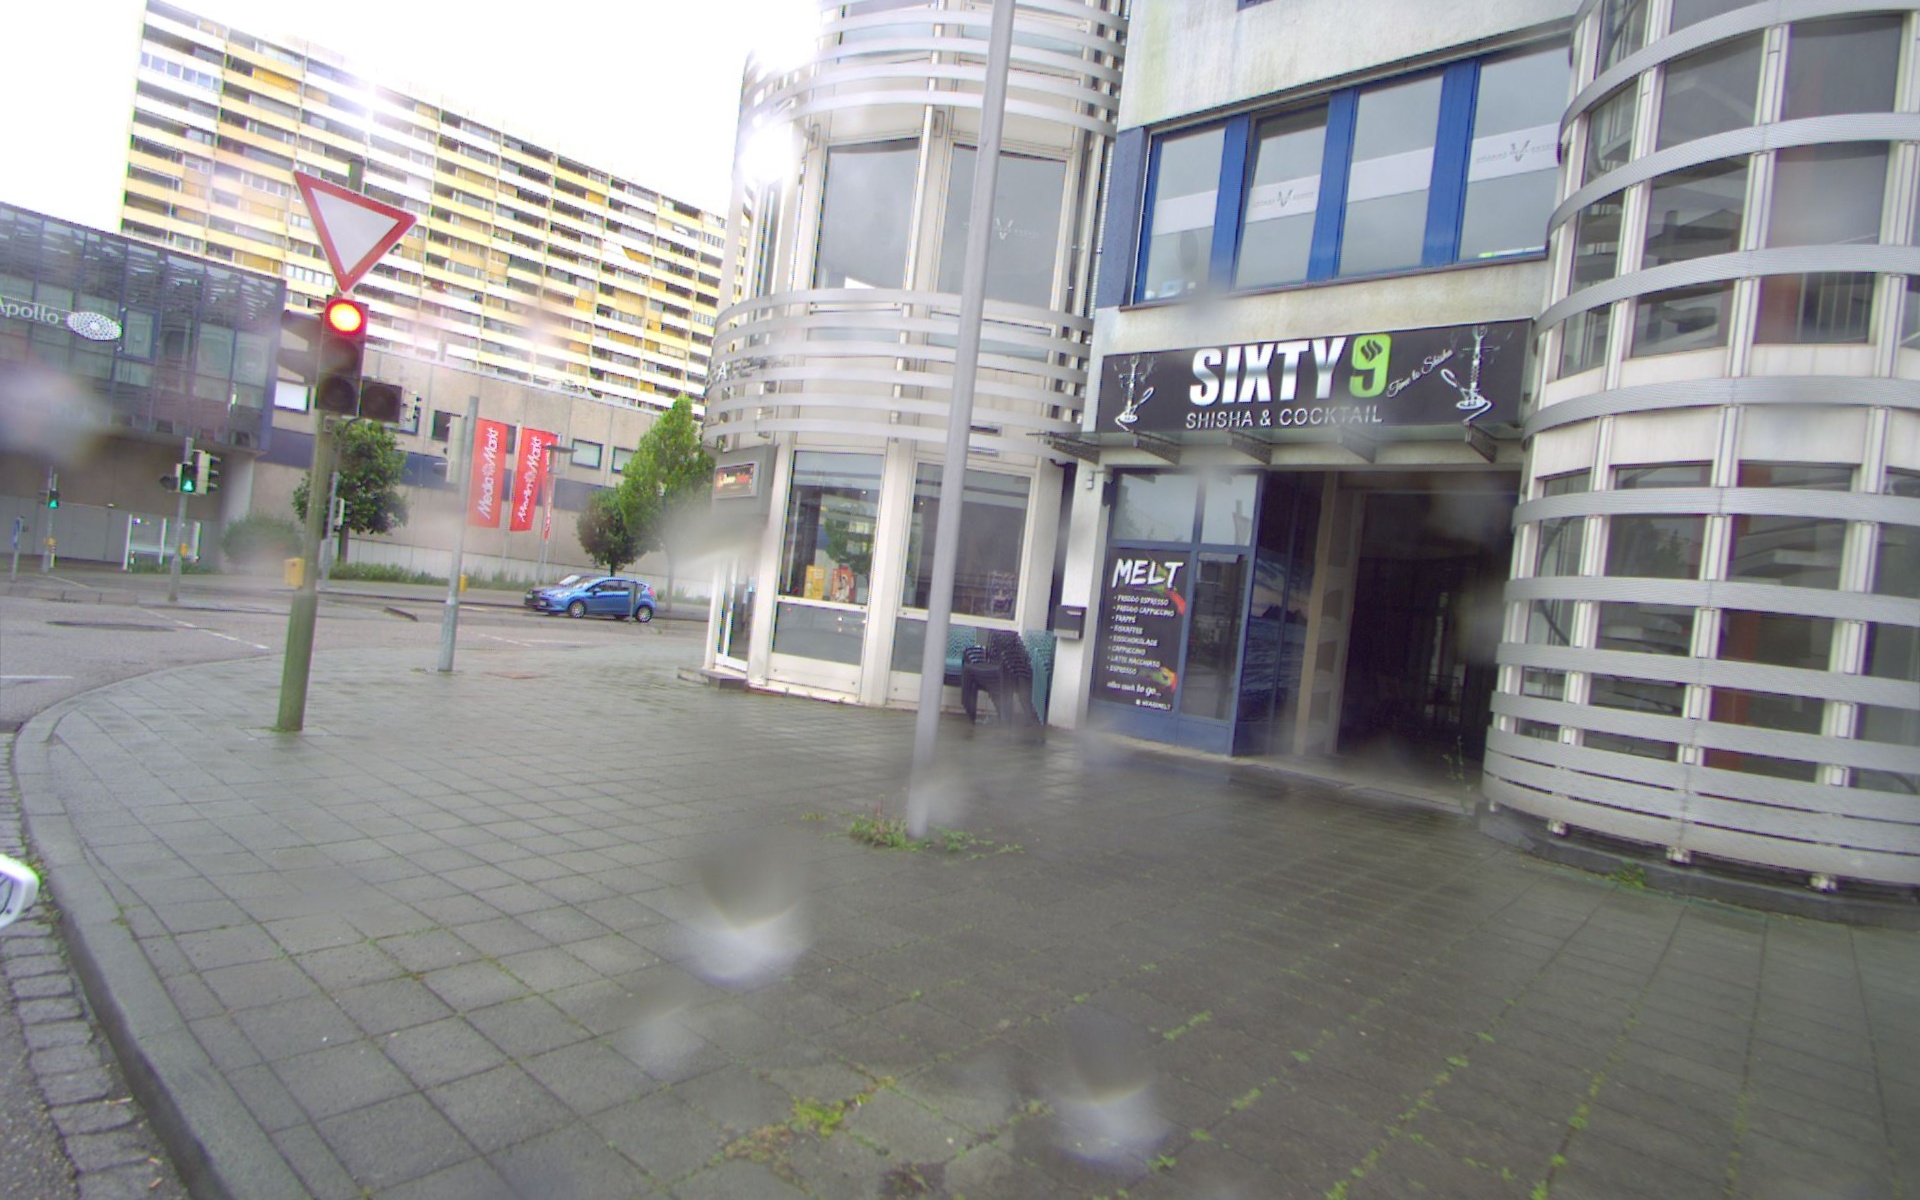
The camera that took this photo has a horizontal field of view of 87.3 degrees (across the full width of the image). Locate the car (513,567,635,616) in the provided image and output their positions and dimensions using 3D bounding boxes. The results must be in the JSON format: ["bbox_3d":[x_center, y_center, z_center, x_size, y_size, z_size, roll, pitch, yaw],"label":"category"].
[{"bbox_3d":[-13.915,-0.278,36.367,1.720,1.412,3.677,5,0,42],"label":"car"}]

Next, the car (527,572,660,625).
[{"bbox_3d":[-12.236,-0.027,33.741,1.656,1.415,3.836,5,0,40],"label":"car"}]
